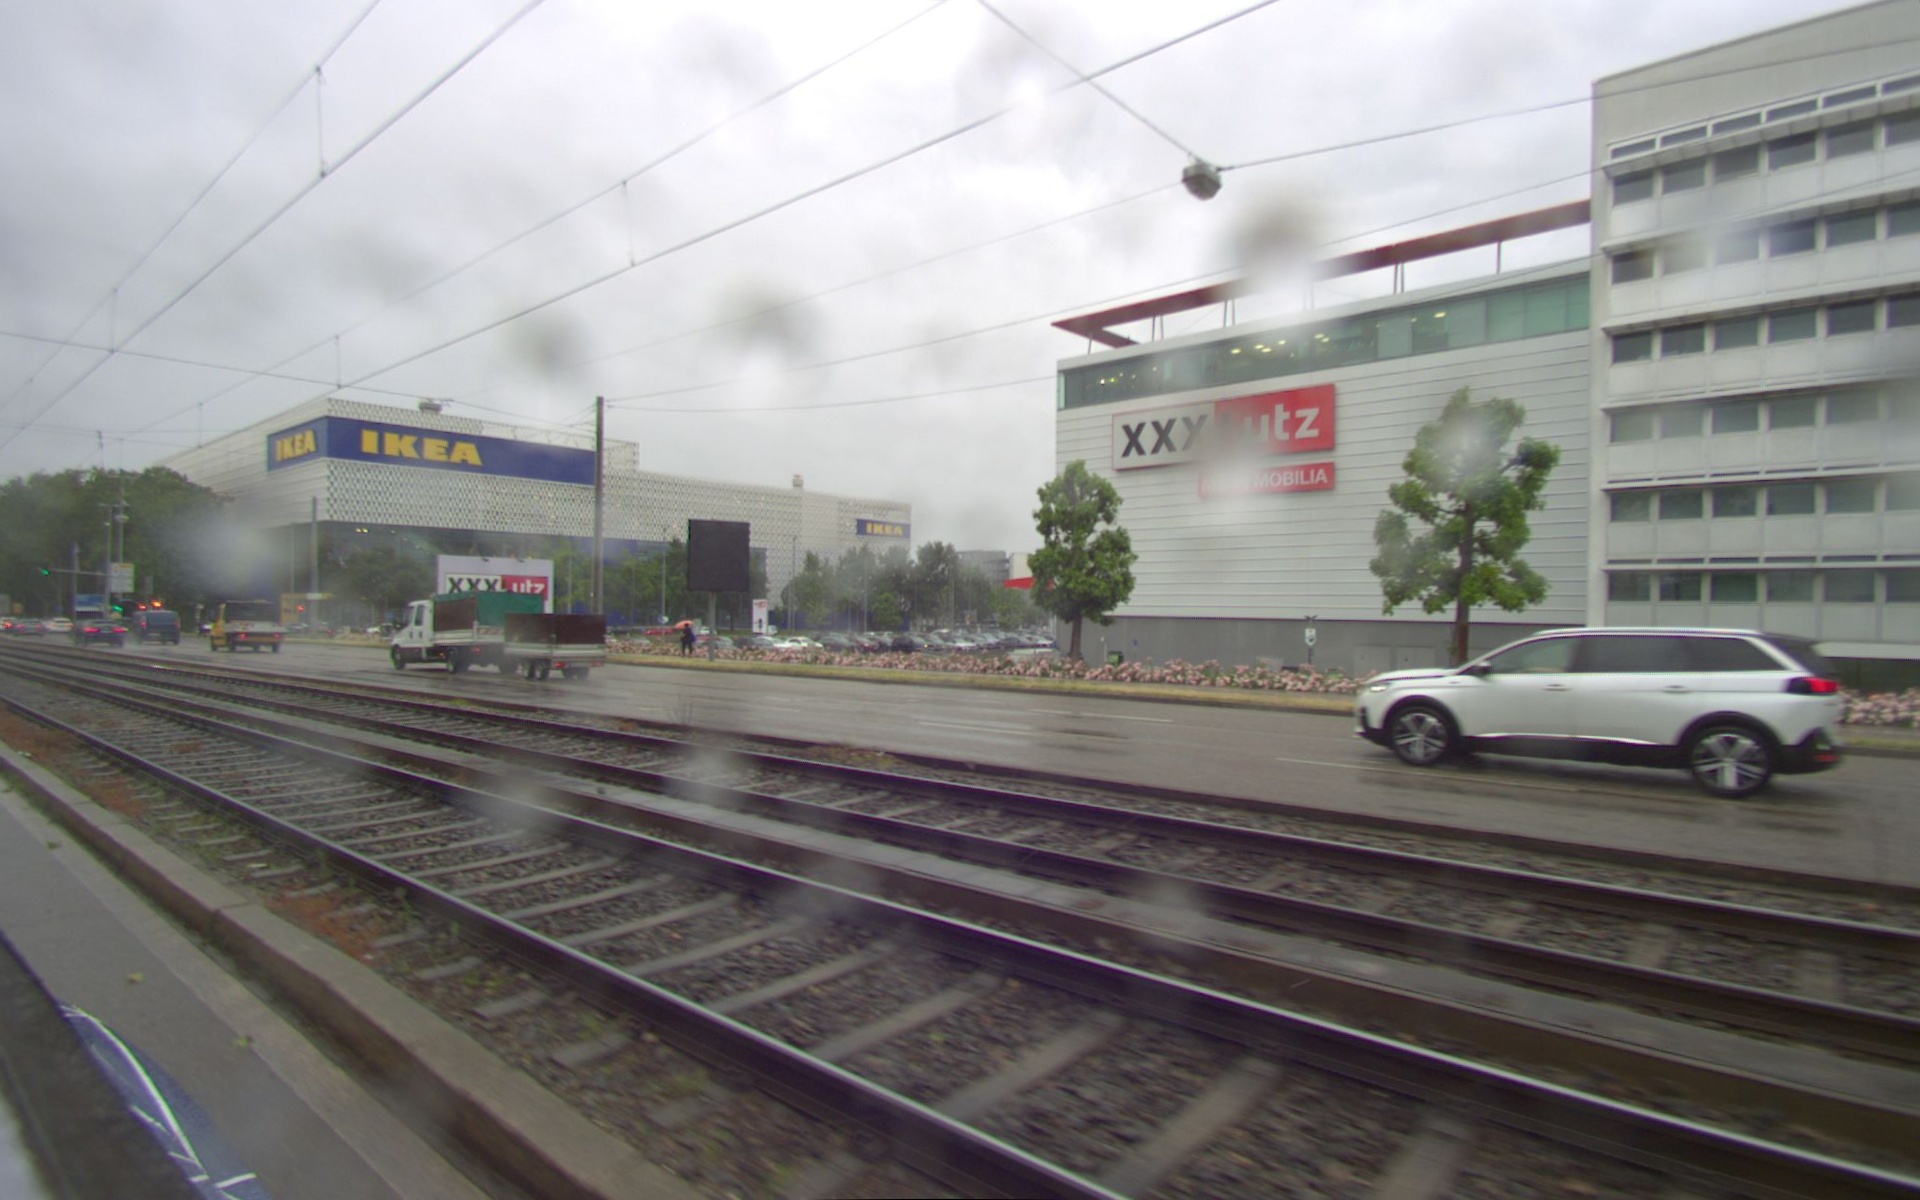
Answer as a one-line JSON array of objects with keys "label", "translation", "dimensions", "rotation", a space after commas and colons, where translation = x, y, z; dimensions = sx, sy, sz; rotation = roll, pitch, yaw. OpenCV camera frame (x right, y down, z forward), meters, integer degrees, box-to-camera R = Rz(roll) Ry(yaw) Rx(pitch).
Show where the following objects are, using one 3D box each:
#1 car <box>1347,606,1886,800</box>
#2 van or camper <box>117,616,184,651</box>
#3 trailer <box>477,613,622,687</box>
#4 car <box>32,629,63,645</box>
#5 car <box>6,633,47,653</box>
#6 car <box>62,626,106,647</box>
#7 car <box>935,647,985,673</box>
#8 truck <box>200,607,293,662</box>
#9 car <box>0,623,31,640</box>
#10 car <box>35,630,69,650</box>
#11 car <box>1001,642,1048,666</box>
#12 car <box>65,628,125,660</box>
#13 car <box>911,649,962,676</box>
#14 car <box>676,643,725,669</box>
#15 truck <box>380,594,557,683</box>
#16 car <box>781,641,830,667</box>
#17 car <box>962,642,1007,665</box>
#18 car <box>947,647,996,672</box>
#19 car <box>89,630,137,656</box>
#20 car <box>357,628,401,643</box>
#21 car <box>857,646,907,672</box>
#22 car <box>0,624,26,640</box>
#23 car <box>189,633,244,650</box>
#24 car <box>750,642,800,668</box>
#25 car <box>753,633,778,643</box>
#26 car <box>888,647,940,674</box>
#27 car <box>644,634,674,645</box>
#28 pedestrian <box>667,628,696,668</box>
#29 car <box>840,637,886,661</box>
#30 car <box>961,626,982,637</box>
[{"label": "car", "translation": [6.925, 0.998, 11.116], "dimensions": [4.686, 1.695, 1.753], "rotation": [-1, -5, 41]}, {"label": "van or camper", "translation": [-48.932, 1.998, 61.132], "dimensions": [5.684, 2.029, 2.280], "rotation": [-1, -2, 42]}, {"label": "trailer", "translation": [-11.232, 1.305, 27.628], "dimensions": [3.833, 1.806, 2.098], "rotation": [-1, 1, 40]}, {"label": "car", "translation": [-100.892, 4.115, 111.893], "dimensions": [4.838, 1.618, 1.888], "rotation": [-2, 1, 40]}, {"label": "car", "translation": [-73.398, 3.344, 79.541], "dimensions": [4.687, 1.505, 1.839], "rotation": [-1, -2, 41]}, {"label": "car", "translation": [-68.042, 2.814, 78.568], "dimensions": [4.552, 1.528, 1.943], "rotation": [-1, -3, 41]}, {"label": "car", "translation": [-0.033, 5.197, 87.959], "dimensions": [3.995, 2.029, 1.974], "rotation": [-1, 0, 39]}, {"label": "truck", "translation": [-34.290, 1.643, 48.563], "dimensions": [6.064, 2.480, 2.203], "rotation": [-1, -3, 42]}, {"label": "car", "translation": [-86.714, 2.837, 92.625], "dimensions": [4.670, 1.468, 1.972], "rotation": [-1, -3, 41]}, {"label": "car", "translation": [-88.385, 3.869, 98.539], "dimensions": [4.692, 1.848, 1.972], "rotation": [-1, -1, 42]}, {"label": "car", "translation": [6.059, 5.083, 94.896], "dimensions": [3.994, 2.029, 1.975], "rotation": [-1, 0, 38]}, {"label": "car", "translation": [-46.446, 2.326, 54.336], "dimensions": [4.533, 1.635, 1.800], "rotation": [-1, -1, 41]}, {"label": "car", "translation": [-1.968, 5.249, 85.919], "dimensions": [3.995, 2.029, 1.974], "rotation": [-1, 0, 39]}, {"label": "car", "translation": [-22.104, 4.729, 86.072], "dimensions": [3.995, 2.029, 1.975], "rotation": [-1, 1, 38]}, {"label": "truck", "translation": [-15.421, 1.155, 31.467], "dimensions": [7.217, 2.476, 2.409], "rotation": [-1, -3, 42]}, {"label": "car", "translation": [-13.568, 4.720, 88.742], "dimensions": [4.086, 2.029, 1.975], "rotation": [-1, 1, 38]}, {"label": "car", "translation": [2.362, 5.123, 97.689], "dimensions": [3.994, 2.029, 1.975], "rotation": [-1, 0, 38]}, {"label": "car", "translation": [1.028, 5.300, 90.589], "dimensions": [3.995, 2.029, 1.974], "rotation": [-1, 0, 39]}, {"label": "car", "translation": [-57.882, 2.941, 69.140], "dimensions": [4.907, 1.630, 1.838], "rotation": [-1, -4, 43]}, {"label": "car", "translation": [-68.265, 4.139, 118.906], "dimensions": [1.999, 1.615, 4.053], "rotation": [-1, 1, 41]}, {"label": "car", "translation": [-6.682, 5.010, 86.807], "dimensions": [3.995, 2.029, 1.974], "rotation": [-1, 0, 39]}, {"label": "car", "translation": [-97.243, 3.305, 103.742], "dimensions": [4.327, 1.585, 1.853], "rotation": [-3, -1, 42]}, {"label": "car", "translation": [-78.865, 4.378, 107.366], "dimensions": [1.819, 1.552, 4.401], "rotation": [-3, -1, 42]}, {"label": "car", "translation": [-15.903, 4.668, 86.854], "dimensions": [4.086, 2.029, 1.975], "rotation": [-1, 1, 38]}, {"label": "car", "translation": [-31.556, 6.142, 164.047], "dimensions": [1.602, 1.417, 3.771], "rotation": [-1, 1, 43]}, {"label": "car", "translation": [-3.849, 4.986, 83.866], "dimensions": [3.995, 2.029, 1.974], "rotation": [-1, 0, 39]}, {"label": "car", "translation": [-44.669, 5.912, 150.168], "dimensions": [1.602, 1.417, 3.930], "rotation": [-1, 1, 43]}, {"label": "pedestrian", "translation": [-12.727, 2.175, 46.207], "dimensions": [1.050, 1.776, 0.814], "rotation": [0, 2, 43]}, {"label": "car", "translation": [-9.037, 4.499, 94.134], "dimensions": [3.995, 2.029, 1.974], "rotation": [-1, 0, 39]}, {"label": "car", "translation": [2.354, 6.463, 207.178], "dimensions": [2.000, 2.029, 3.944], "rotation": [-1, 0, 42]}]
